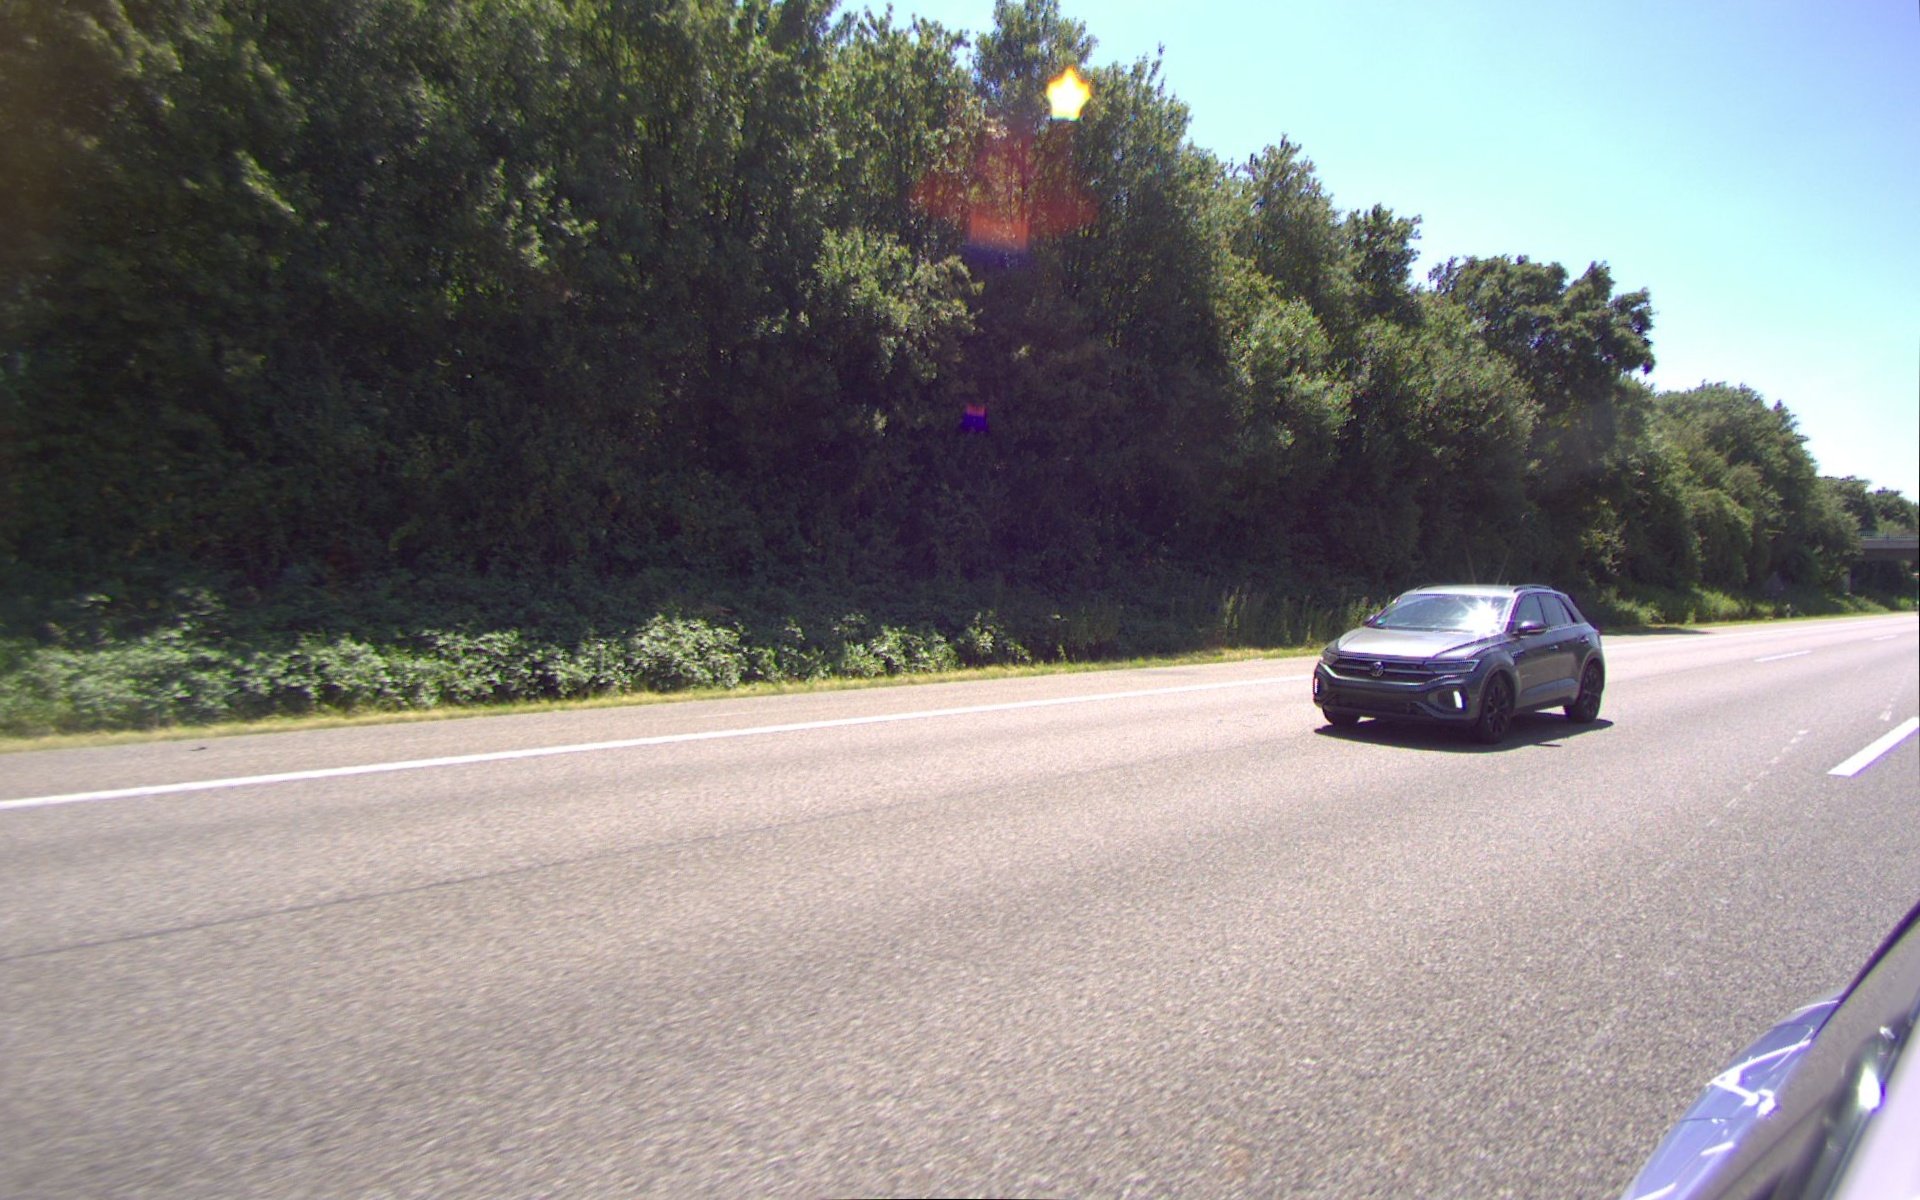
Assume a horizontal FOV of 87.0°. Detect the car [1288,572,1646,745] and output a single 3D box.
[{"bbox_3d":[5.816,0.502,11.335,4.675,1.551,1.903,0,1,-40],"label":"car"}]
